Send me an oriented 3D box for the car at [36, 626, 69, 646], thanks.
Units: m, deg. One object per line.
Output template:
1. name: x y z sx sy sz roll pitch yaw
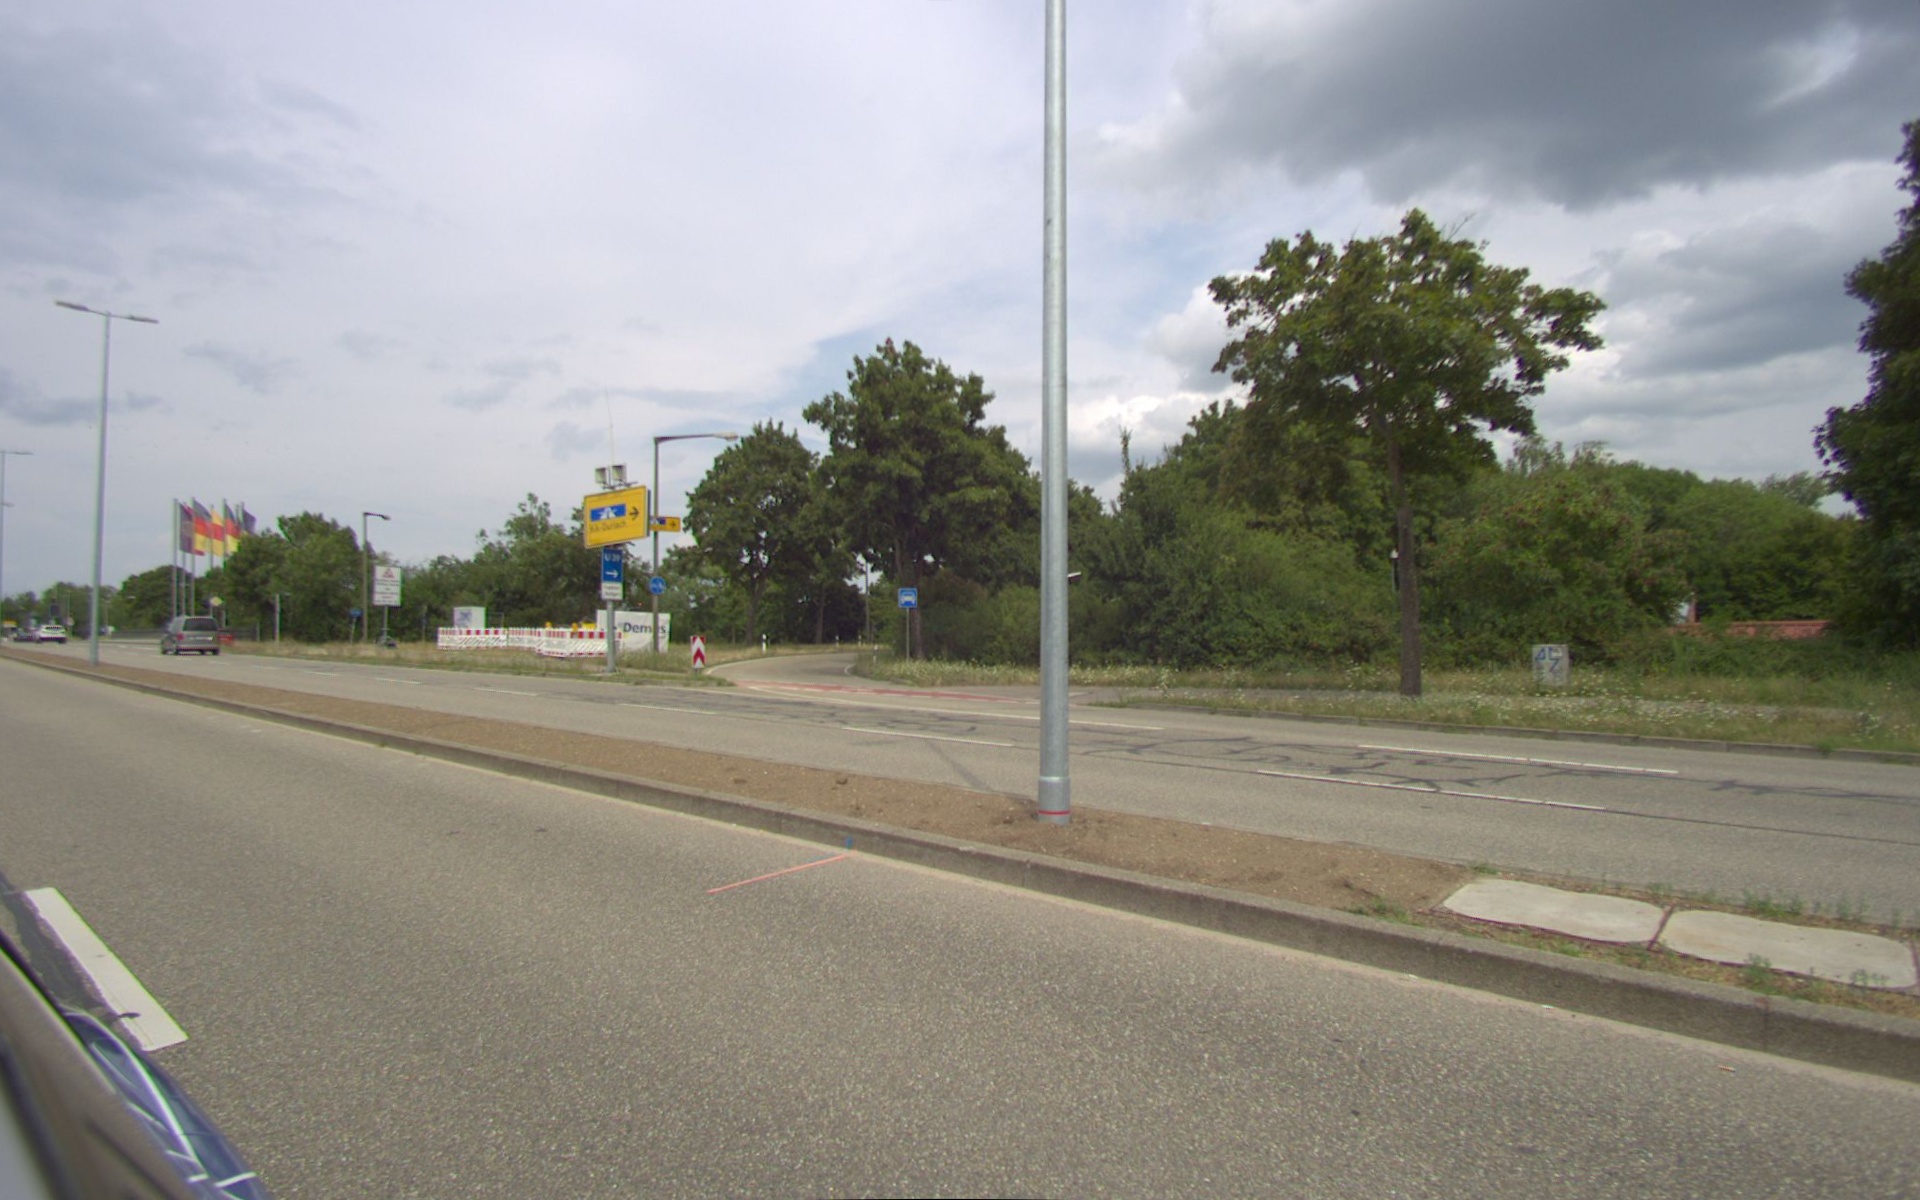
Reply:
1. car: -77.664 3.091 86.563 4.382 1.641 1.676 -3 -3 42

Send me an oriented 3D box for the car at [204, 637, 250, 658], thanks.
1. car: -49.008 3.158 67.619 4.346 1.332 1.735 -3 -3 43

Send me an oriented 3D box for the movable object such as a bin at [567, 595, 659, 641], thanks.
1. movable object such as a bin: -18.925 0.997 55.345 1.993 2.415 4.544 -3 -2 31

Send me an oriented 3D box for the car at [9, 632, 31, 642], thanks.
1. car: -127.235 5.019 136.964 1.970 1.384 4.580 3 -3 -44

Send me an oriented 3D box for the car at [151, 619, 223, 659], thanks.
1. car: -36.922 1.889 48.303 4.537 1.823 1.883 -3 -3 41
